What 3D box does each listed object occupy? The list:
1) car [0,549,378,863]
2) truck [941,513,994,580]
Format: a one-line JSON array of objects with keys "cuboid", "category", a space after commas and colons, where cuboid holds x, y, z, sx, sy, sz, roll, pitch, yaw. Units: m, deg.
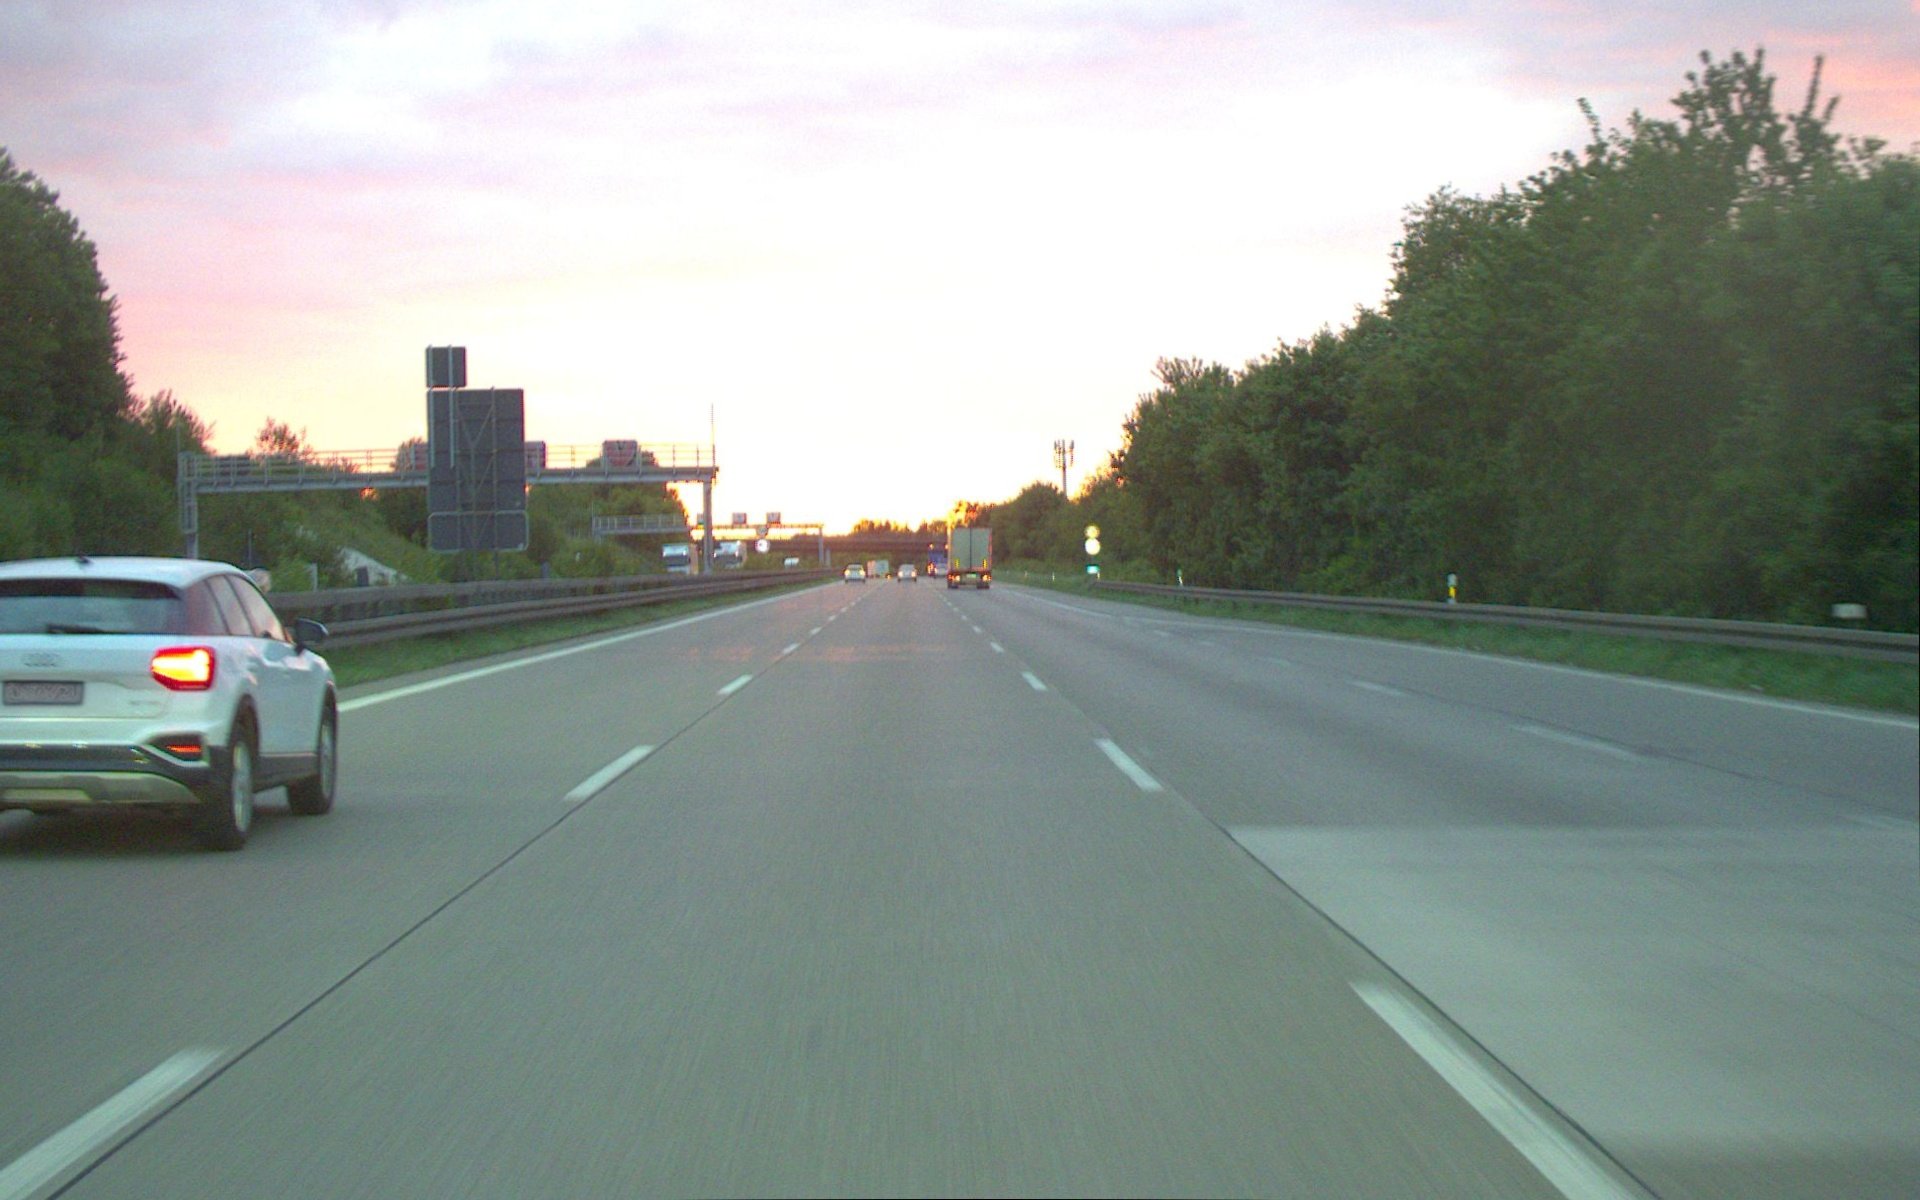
[{"cuboid": [-4.547, 0.483, 19.327, 1.789, 1.495, 5.038, 1, 1, -1], "category": "car"}, {"cuboid": [0.456, -3.340, 217.440, 3.244, 4.113, 9.786, -1, 1, 0], "category": "truck"}]
